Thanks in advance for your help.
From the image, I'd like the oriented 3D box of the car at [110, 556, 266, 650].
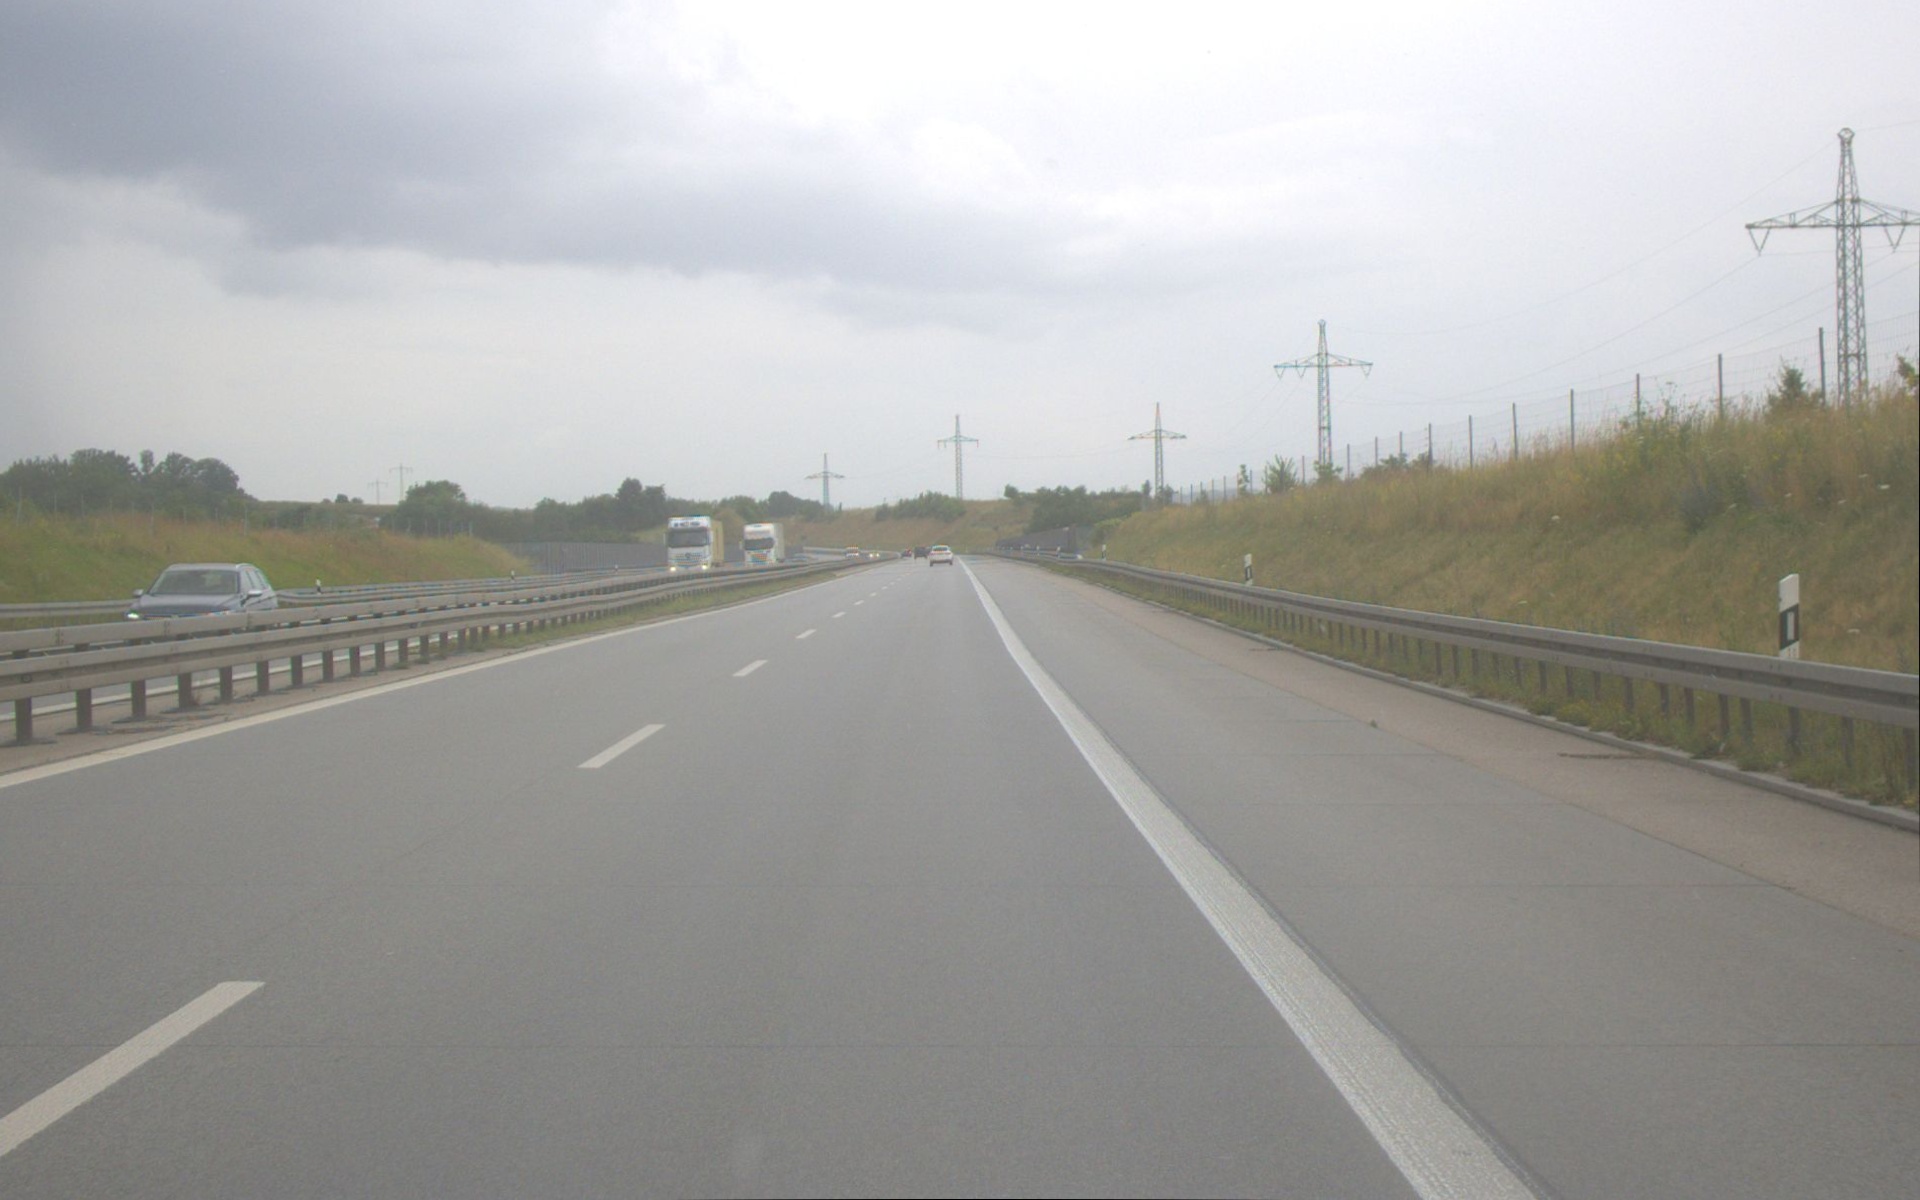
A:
[{"bbox_3d":[-12.364,0.017,55.278,1.763,1.419,4.001,-1,1,-3],"label":"car"}]
